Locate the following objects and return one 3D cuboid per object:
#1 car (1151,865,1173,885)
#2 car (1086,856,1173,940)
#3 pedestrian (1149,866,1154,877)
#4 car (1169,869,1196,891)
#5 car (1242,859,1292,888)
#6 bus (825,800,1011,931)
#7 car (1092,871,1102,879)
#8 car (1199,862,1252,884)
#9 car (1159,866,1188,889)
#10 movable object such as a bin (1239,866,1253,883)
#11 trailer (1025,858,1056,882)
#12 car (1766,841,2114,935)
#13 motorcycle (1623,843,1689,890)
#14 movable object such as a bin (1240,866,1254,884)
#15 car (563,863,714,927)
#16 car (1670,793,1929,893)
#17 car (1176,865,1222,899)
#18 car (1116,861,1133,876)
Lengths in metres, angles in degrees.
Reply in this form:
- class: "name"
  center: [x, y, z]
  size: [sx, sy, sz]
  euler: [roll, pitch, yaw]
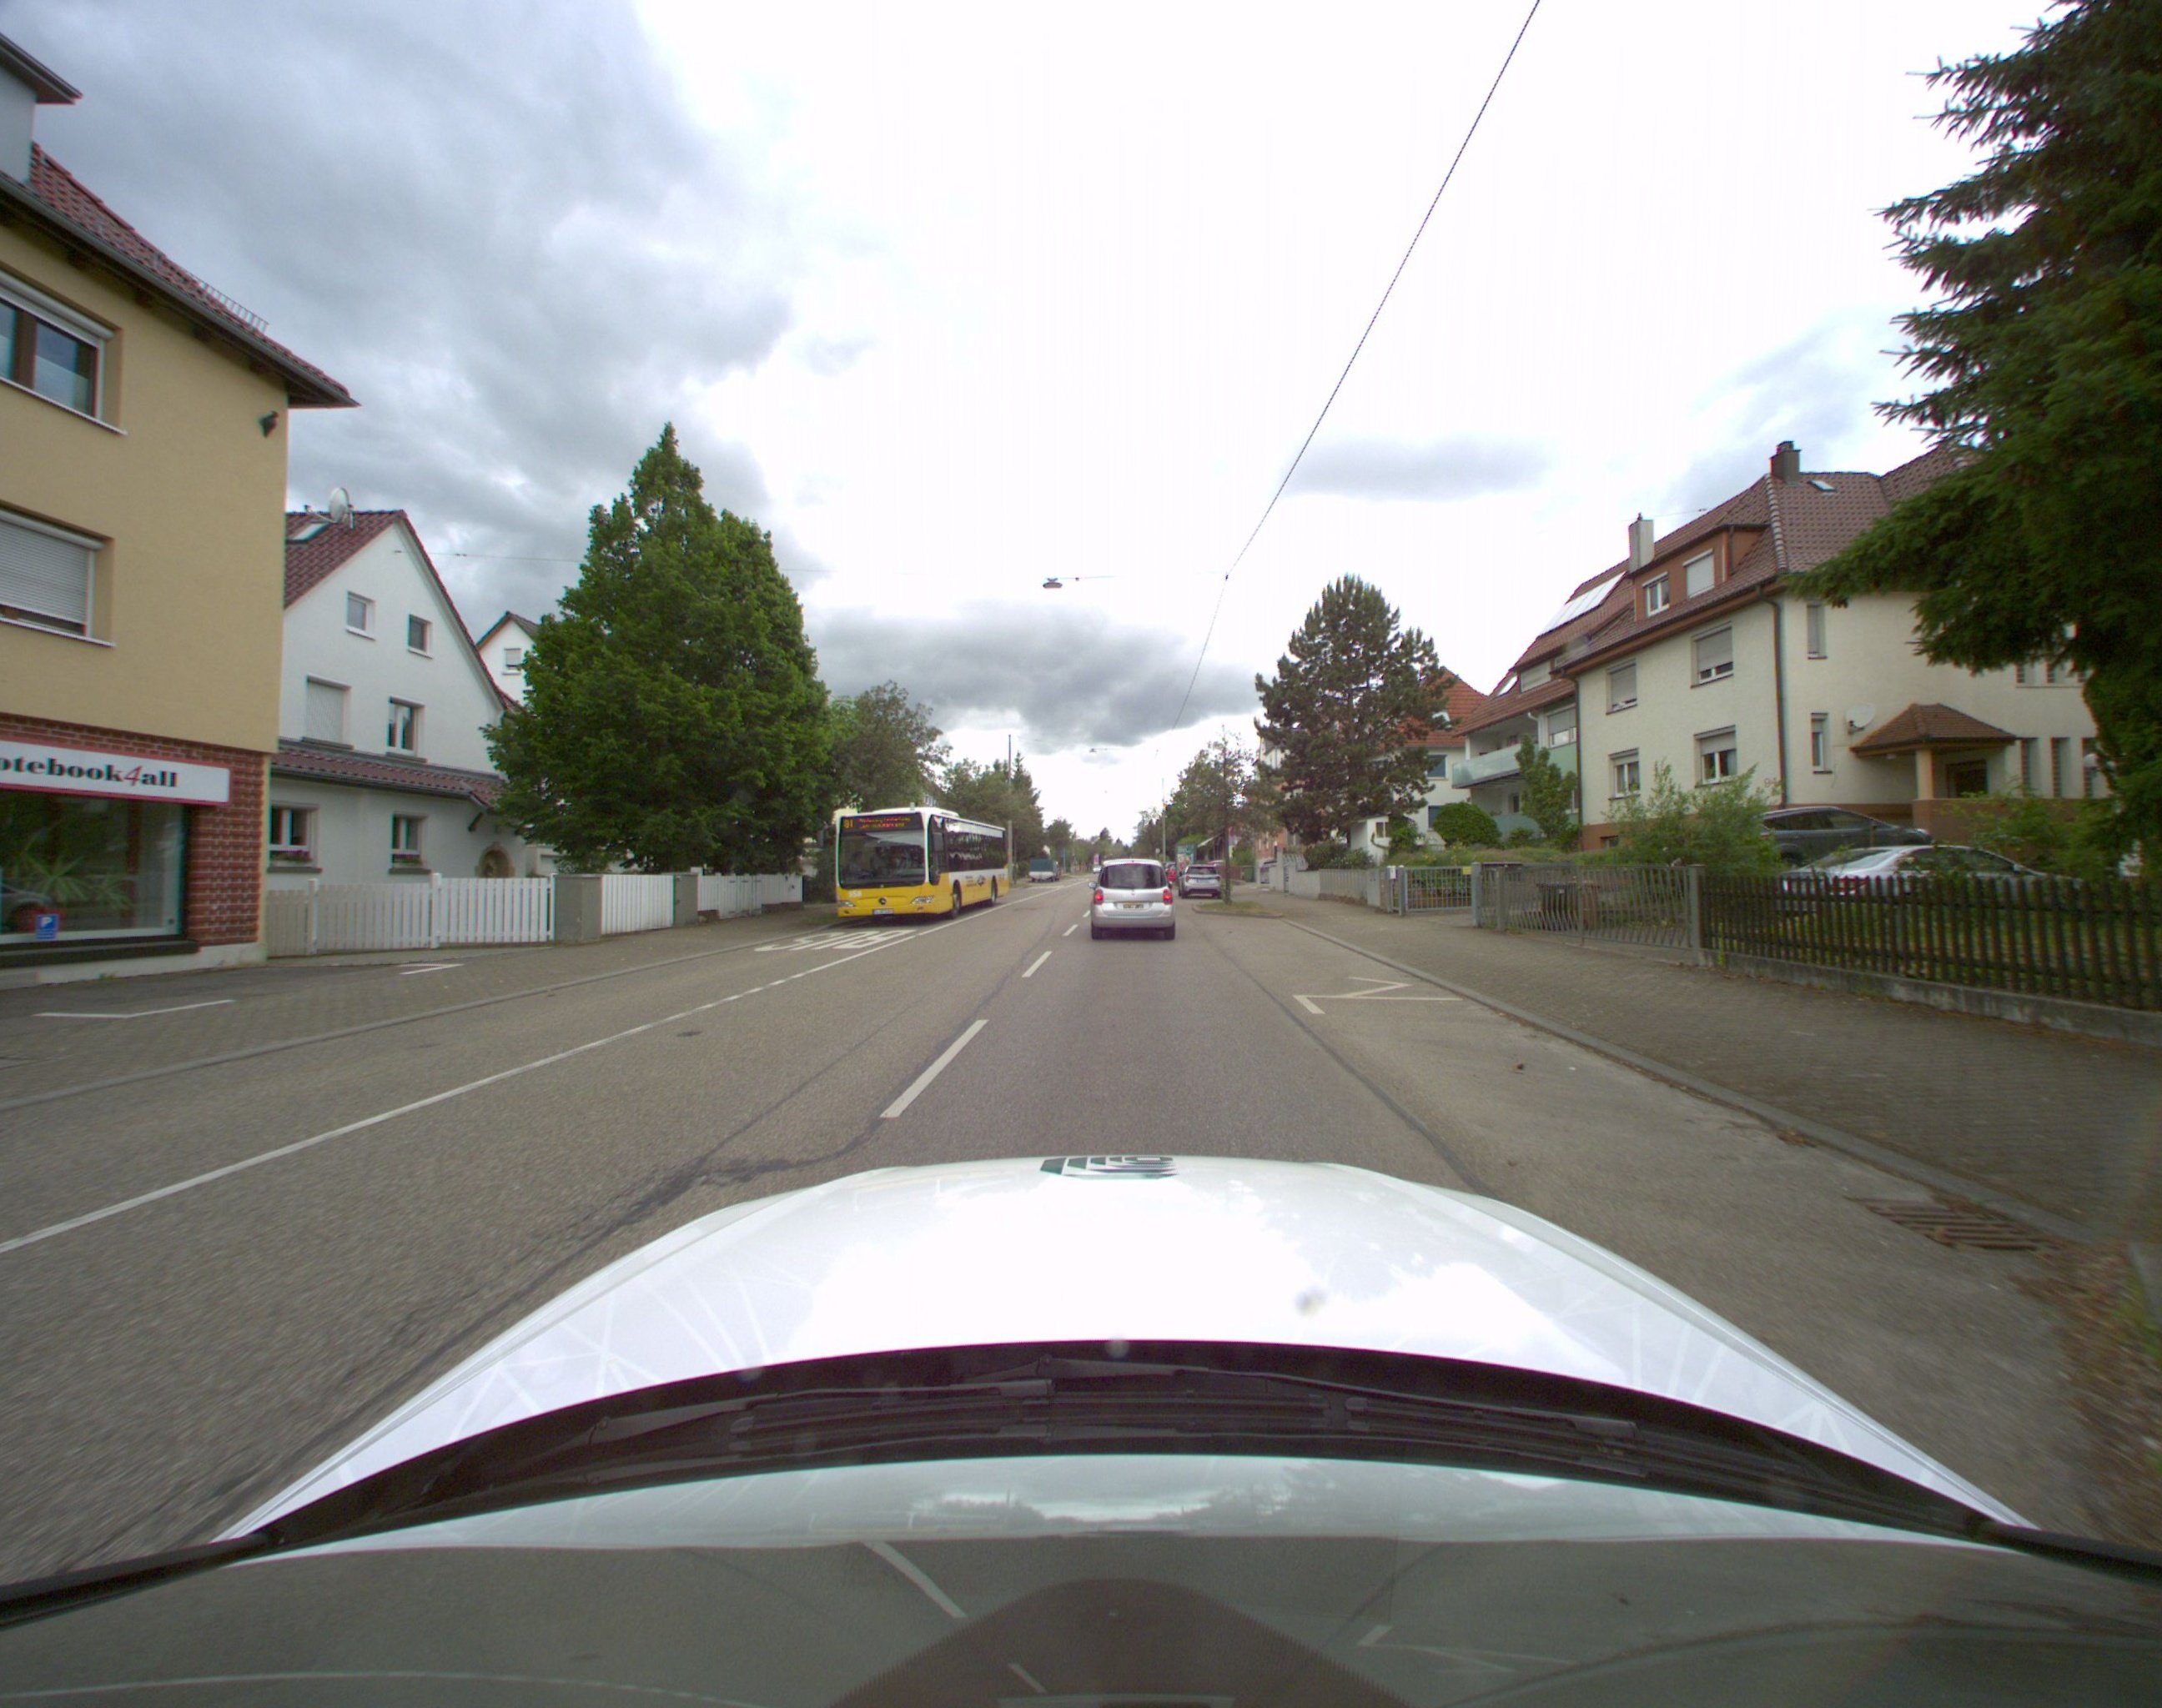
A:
- class: "car"
  center: [7.478, 1.928, 75.280]
  size: [1.805, 1.743, 4.002]
  euler: [-2, -2, 2]
- class: "car"
  center: [1.075, 0.891, 17.380]
  size: [1.622, 1.557, 4.004]
  euler: [1, -2, 5]
- class: "pedestrian"
  center: [10.624, 2.715, 123.024]
  size: [0.702, 1.647, 0.774]
  euler: [-1, -1, 2]
- class: "car"
  center: [6.678, 1.693, 53.948]
  size: [1.654, 1.393, 3.673]
  euler: [-1, -1, 5]
- class: "car"
  center: [11.269, 1.133, 49.109]
  size: [1.802, 1.380, 4.506]
  euler: [-7, -2, 25]
- class: "bus"
  center: [-4.505, 0.372, 25.898]
  size: [2.620, 3.086, 12.081]
  euler: [-2, -1, 4]
- class: "car"
  center: [3.269, 4.230, 164.110]
  size: [1.900, 1.618, 3.996]
  euler: [0, -2, -2]
- class: "car"
  center: [11.964, 1.569, 67.565]
  size: [3.981, 1.496, 1.806]
  euler: [-4, -1, -6]
- class: "car"
  center: [6.658, 1.682, 58.772]
  size: [1.656, 1.564, 4.099]
  euler: [-1, -1, 1]
- class: "movable object such as a bin"
  center: [10.696, 1.312, 52.752]
  size: [0.773, 1.104, 0.692]
  euler: [-1, -1, 2]
- class: "trailer"
  center: [-3.635, 1.525, 74.393]
  size: [2.303, 2.087, 5.874]
  euler: [1, -2, 2]
- class: "car"
  center: [14.126, 0.553, 13.569]
  size: [3.972, 1.393, 1.646]
  euler: [-1, -2, 2]
- class: "motorcycle"
  center: [14.773, 0.320, 20.946]
  size: [1.221, 1.046, 0.584]
  euler: [-6, -3, -8]
- class: "movable object such as a bin"
  center: [10.617, 1.324, 51.996]
  size: [0.773, 1.104, 0.692]
  euler: [-1, -1, 2]
- class: "car"
  center: [-12.525, 1.086, 23.449]
  size: [1.801, 1.564, 4.616]
  euler: [-3, -1, -1]
- class: "car"
  center: [15.926, -0.202, 18.223]
  size: [3.975, 1.703, 1.884]
  euler: [-6, -3, -1]
- class: "car"
  center: [5.048, 1.228, 35.258]
  size: [1.643, 1.382, 4.003]
  euler: [0, -2, 4]
- class: "car"
  center: [4.760, 1.601, 89.760]
  size: [1.821, 1.676, 3.577]
  euler: [-1, -1, 3]
